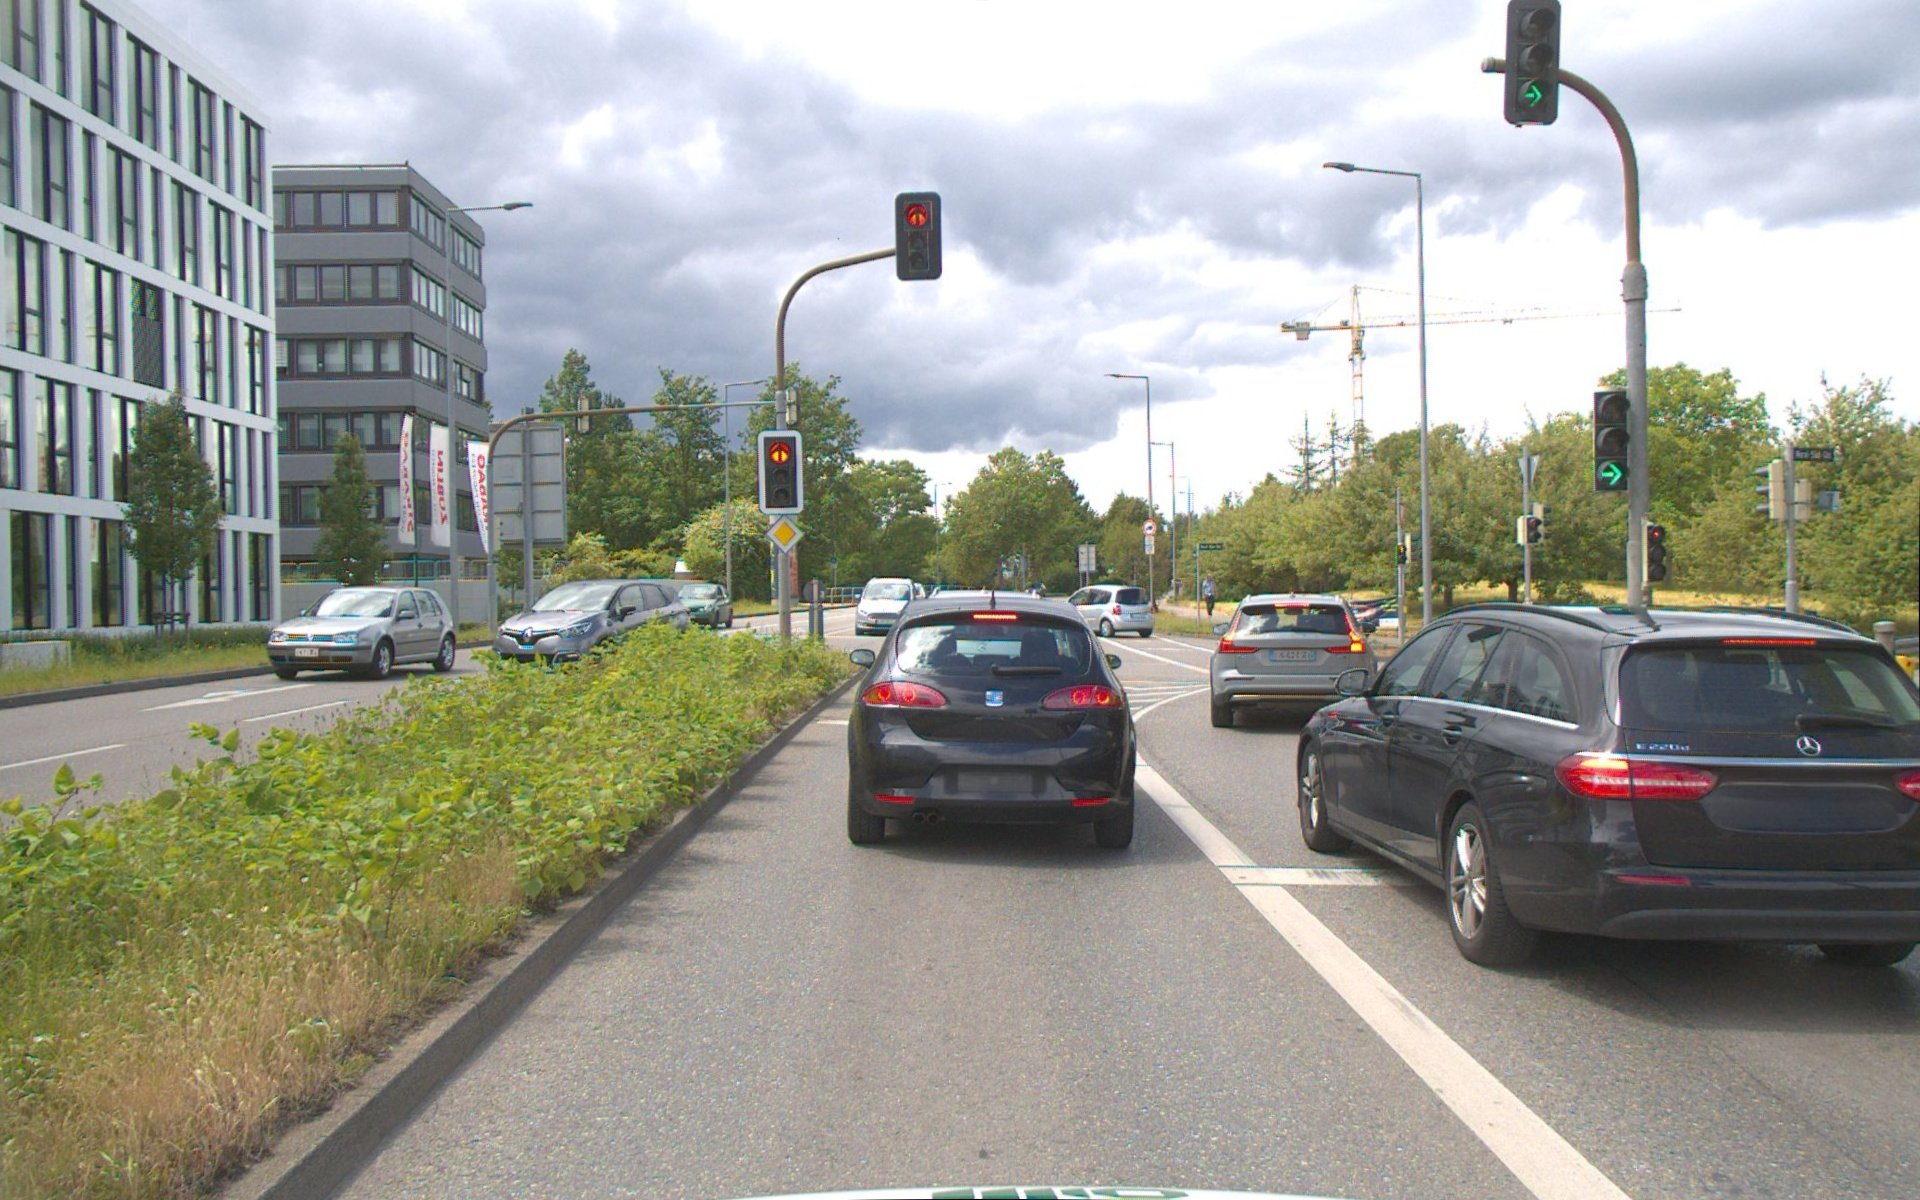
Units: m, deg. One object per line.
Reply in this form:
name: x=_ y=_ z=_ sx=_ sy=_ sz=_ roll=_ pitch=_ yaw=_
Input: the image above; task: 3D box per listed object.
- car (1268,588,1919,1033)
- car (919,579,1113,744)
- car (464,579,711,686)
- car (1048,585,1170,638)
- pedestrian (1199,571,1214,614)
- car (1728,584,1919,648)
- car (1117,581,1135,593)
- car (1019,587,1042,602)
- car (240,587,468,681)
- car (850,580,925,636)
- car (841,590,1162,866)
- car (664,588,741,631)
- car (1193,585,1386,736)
car: x=3.002 y=0.703 z=8.295 sx=1.835 sy=1.466 sz=5.199 roll=-1 pitch=1 yaw=-1
car: x=0.487 y=0.564 z=17.486 sx=1.738 sy=1.517 sz=3.580 roll=-1 pitch=1 yaw=-3
car: x=-5.783 y=0.445 z=26.152 sx=1.895 sy=1.543 sz=4.000 roll=0 pitch=1 yaw=21
car: x=4.627 y=0.326 z=51.850 sx=1.971 sy=1.557 sz=3.963 roll=-1 pitch=1 yaw=-28
pedestrian: x=10.196 y=-0.310 z=68.438 sx=0.547 sy=1.756 sz=0.588 roll=0 pitch=0 yaw=0
car: x=22.442 y=0.406 z=42.823 sx=4.213 sy=1.552 sz=2.001 roll=-1 pitch=0 yaw=6
car: x=18.752 y=-1.475 z=186.546 sx=1.951 sy=1.375 sz=4.003 roll=0 pitch=1 yaw=7
car: x=6.917 y=-0.559 z=162.015 sx=1.951 sy=1.375 sz=4.003 roll=0 pitch=1 yaw=7
car: x=-9.700 y=0.495 z=26.833 sx=1.951 sy=1.378 sz=4.003 roll=0 pitch=1 yaw=5
car: x=-2.170 y=0.214 z=50.612 sx=1.952 sy=1.624 sz=4.002 roll=0 pitch=1 yaw=2
car: x=0.209 y=0.686 z=10.777 sx=1.737 sy=1.477 sz=3.582 roll=0 pitch=1 yaw=-1
car: x=-8.452 y=0.285 z=54.583 sx=1.953 sy=1.375 sz=4.000 roll=0 pitch=1 yaw=-1
car: x=3.783 y=0.619 z=19.652 sx=1.823 sy=1.545 sz=4.450 roll=-1 pitch=1 yaw=6
